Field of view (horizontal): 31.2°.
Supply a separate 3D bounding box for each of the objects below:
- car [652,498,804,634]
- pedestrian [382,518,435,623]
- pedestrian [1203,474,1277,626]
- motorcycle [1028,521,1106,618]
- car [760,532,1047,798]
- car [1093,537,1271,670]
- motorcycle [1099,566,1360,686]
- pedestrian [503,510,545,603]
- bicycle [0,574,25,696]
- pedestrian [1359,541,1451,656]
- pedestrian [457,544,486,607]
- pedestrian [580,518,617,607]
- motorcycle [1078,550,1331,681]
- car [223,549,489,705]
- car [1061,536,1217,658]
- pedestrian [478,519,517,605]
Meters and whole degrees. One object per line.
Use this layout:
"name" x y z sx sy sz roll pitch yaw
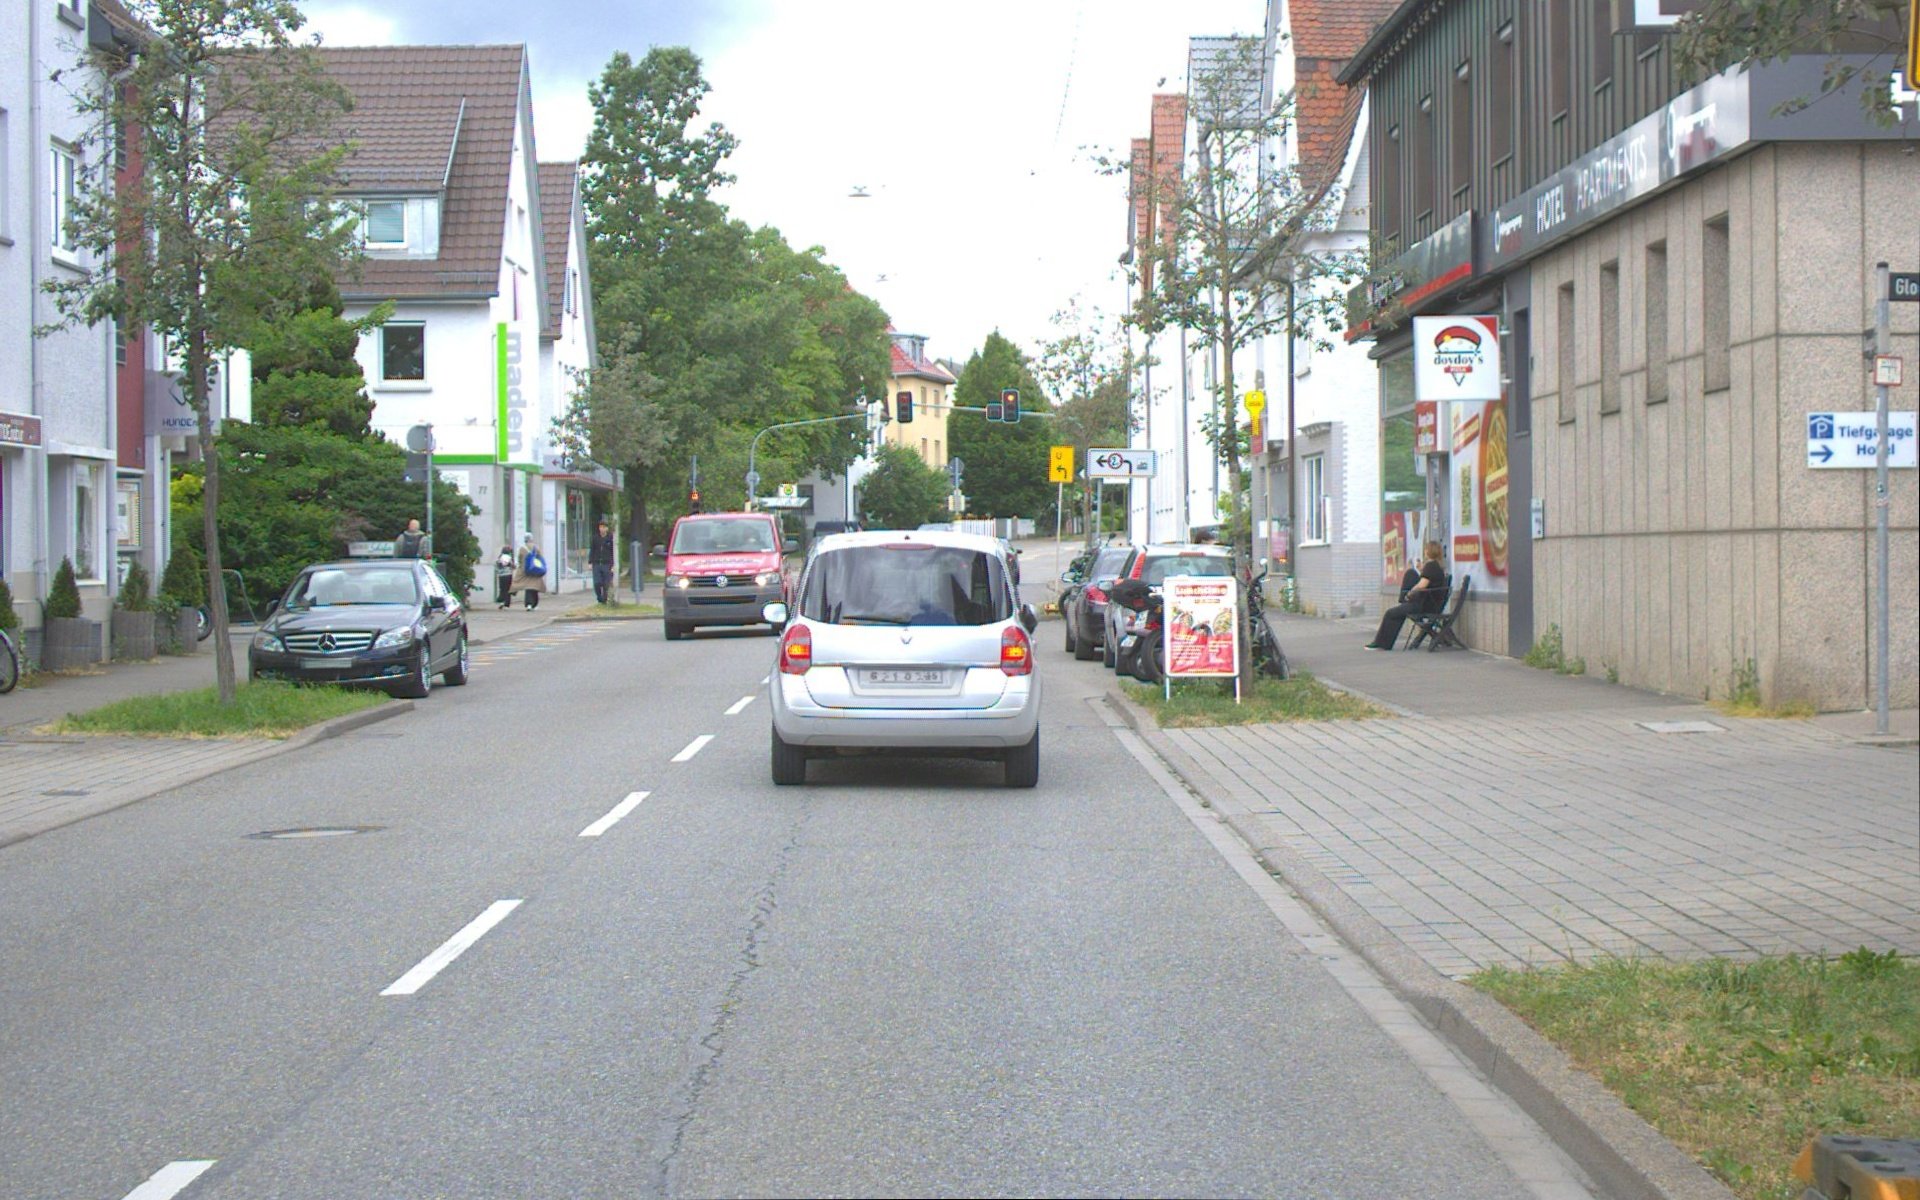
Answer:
"car" -3.611 -0.551 54.281 1.948 1.955 5.223 -3 1 0
"pedestrian" -9.456 -0.505 59.012 0.762 1.785 0.890 0 1 0
"pedestrian" 3.586 -0.642 44.076 0.857 1.921 0.899 0 1 0
"motorcycle" 1.827 -0.529 59.123 0.697 1.633 2.410 0 1 -14
"car" -0.327 0.354 22.449 1.682 1.560 3.993 1 1 0
"car" 2.475 0.012 39.083 1.700 1.425 3.891 0 1 -1
"motorcycle" 2.750 0.250 34.892 2.728 1.179 0.700 0 1 -30
"pedestrian" -8.831 -0.880 69.675 0.762 1.869 0.696 0 1 0
"bicycle" -9.345 0.333 32.713 0.514 1.149 1.666 0 1 -3
"pedestrian" 5.278 -0.026 40.827 0.887 1.296 0.966 -4 1 0
"pedestrian" -9.887 -0.495 69.614 0.492 1.273 0.588 0 1 0
"pedestrian" -7.705 -0.798 73.344 0.716 1.869 0.696 0 1 0
"motorcycle" 2.566 0.156 35.936 2.707 1.331 0.700 0 1 -30
"car" -6.311 0.231 36.421 1.948 1.462 4.516 -3 1 0
"car" 2.242 -0.071 43.895 1.700 1.462 4.239 0 1 -1
"pedestrian" -9.469 -0.783 70.407 0.716 1.750 0.696 0 1 0
